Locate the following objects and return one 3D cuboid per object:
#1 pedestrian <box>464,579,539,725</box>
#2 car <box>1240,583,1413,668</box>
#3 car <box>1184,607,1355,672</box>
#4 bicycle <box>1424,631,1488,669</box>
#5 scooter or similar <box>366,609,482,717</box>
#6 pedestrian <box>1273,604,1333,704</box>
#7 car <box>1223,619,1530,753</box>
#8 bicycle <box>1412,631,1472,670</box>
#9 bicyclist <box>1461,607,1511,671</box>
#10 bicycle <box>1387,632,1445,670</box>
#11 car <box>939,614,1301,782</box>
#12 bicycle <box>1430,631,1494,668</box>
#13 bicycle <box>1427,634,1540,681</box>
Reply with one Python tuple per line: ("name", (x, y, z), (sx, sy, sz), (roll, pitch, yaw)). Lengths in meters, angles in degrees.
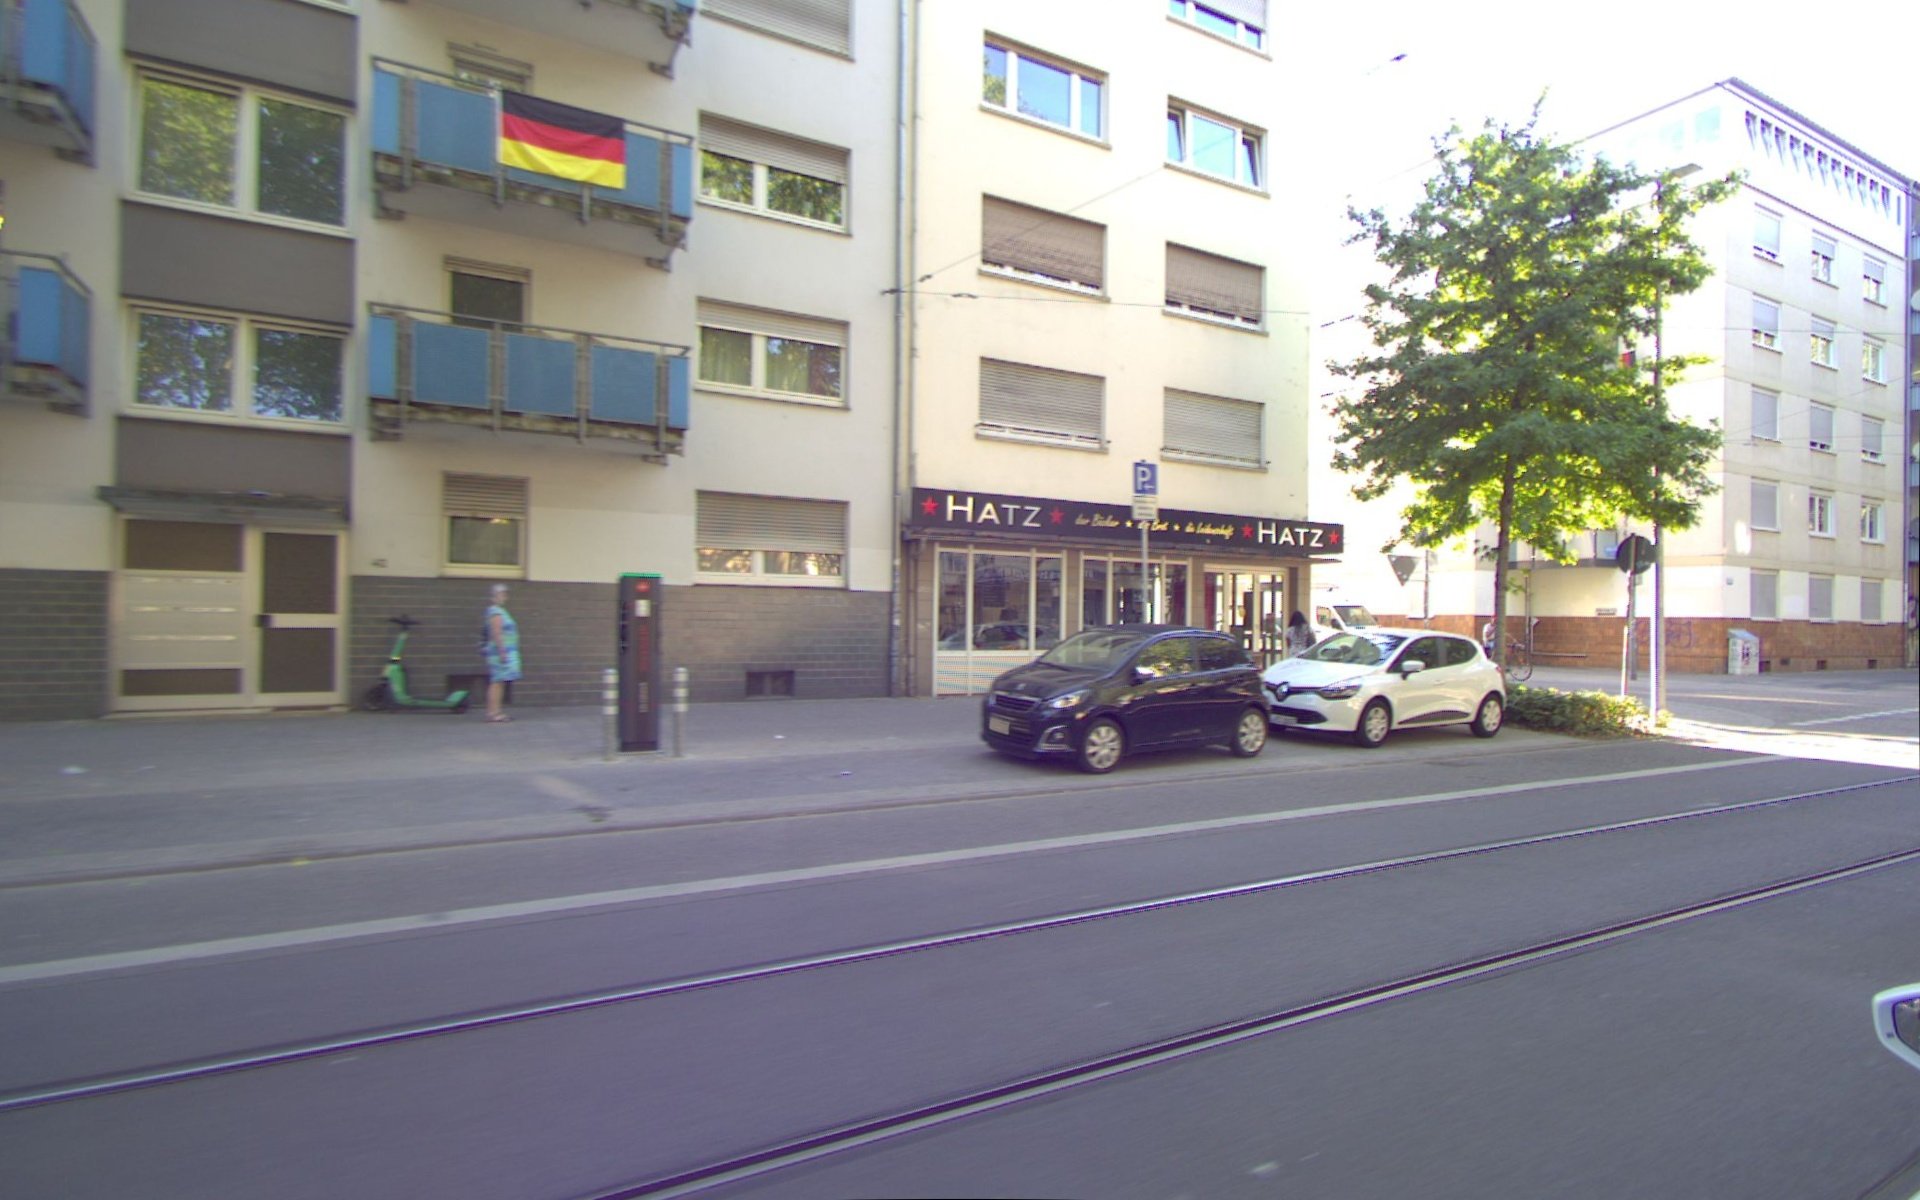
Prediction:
("pedestrian", (-5.595, 0.625, 12.258), (0.740, 1.713, 0.660), (1, -1, -31))
("car", (12.930, 0.878, 35.857), (2.145, 2.759, 5.779), (1, -1, -30))
("car", (9.344, 1.151, 30.744), (2.017, 1.846, 4.846), (1, -1, -33))
("bicycle", (15.818, 1.604, 32.079), (0.579, 1.172, 1.736), (2, -3, -37))
("scooter or similar", (-6.735, 0.788, 12.666), (1.219, 1.306, 0.374), (1, -3, -22))
("pedestrian", (6.063, 0.940, 17.764), (0.740, 1.713, 0.660), (1, -1, -31))
("car", (5.780, 1.090, 13.769), (4.331, 1.484, 1.703), (2, 2, -34))
("bicycle", (15.249, 1.598, 31.803), (0.576, 1.172, 1.744), (1, -3, -24))
("bicyclist", (14.552, 1.075, 27.798), (0.896, 1.727, 0.868), (1, 0, -26))
("bicycle", (14.352, 1.605, 31.670), (1.571, 1.172, 0.585), (-1, -3, 16))
("car", (1.886, 0.978, 11.300), (3.962, 1.484, 1.701), (2, 2, -37))
("bicycle", (16.116, 1.593, 32.272), (0.579, 1.172, 1.736), (2, -3, -37))
("bicycle", (14.490, 1.561, 27.897), (0.909, 1.172, 2.786), (1, -1, -26))
